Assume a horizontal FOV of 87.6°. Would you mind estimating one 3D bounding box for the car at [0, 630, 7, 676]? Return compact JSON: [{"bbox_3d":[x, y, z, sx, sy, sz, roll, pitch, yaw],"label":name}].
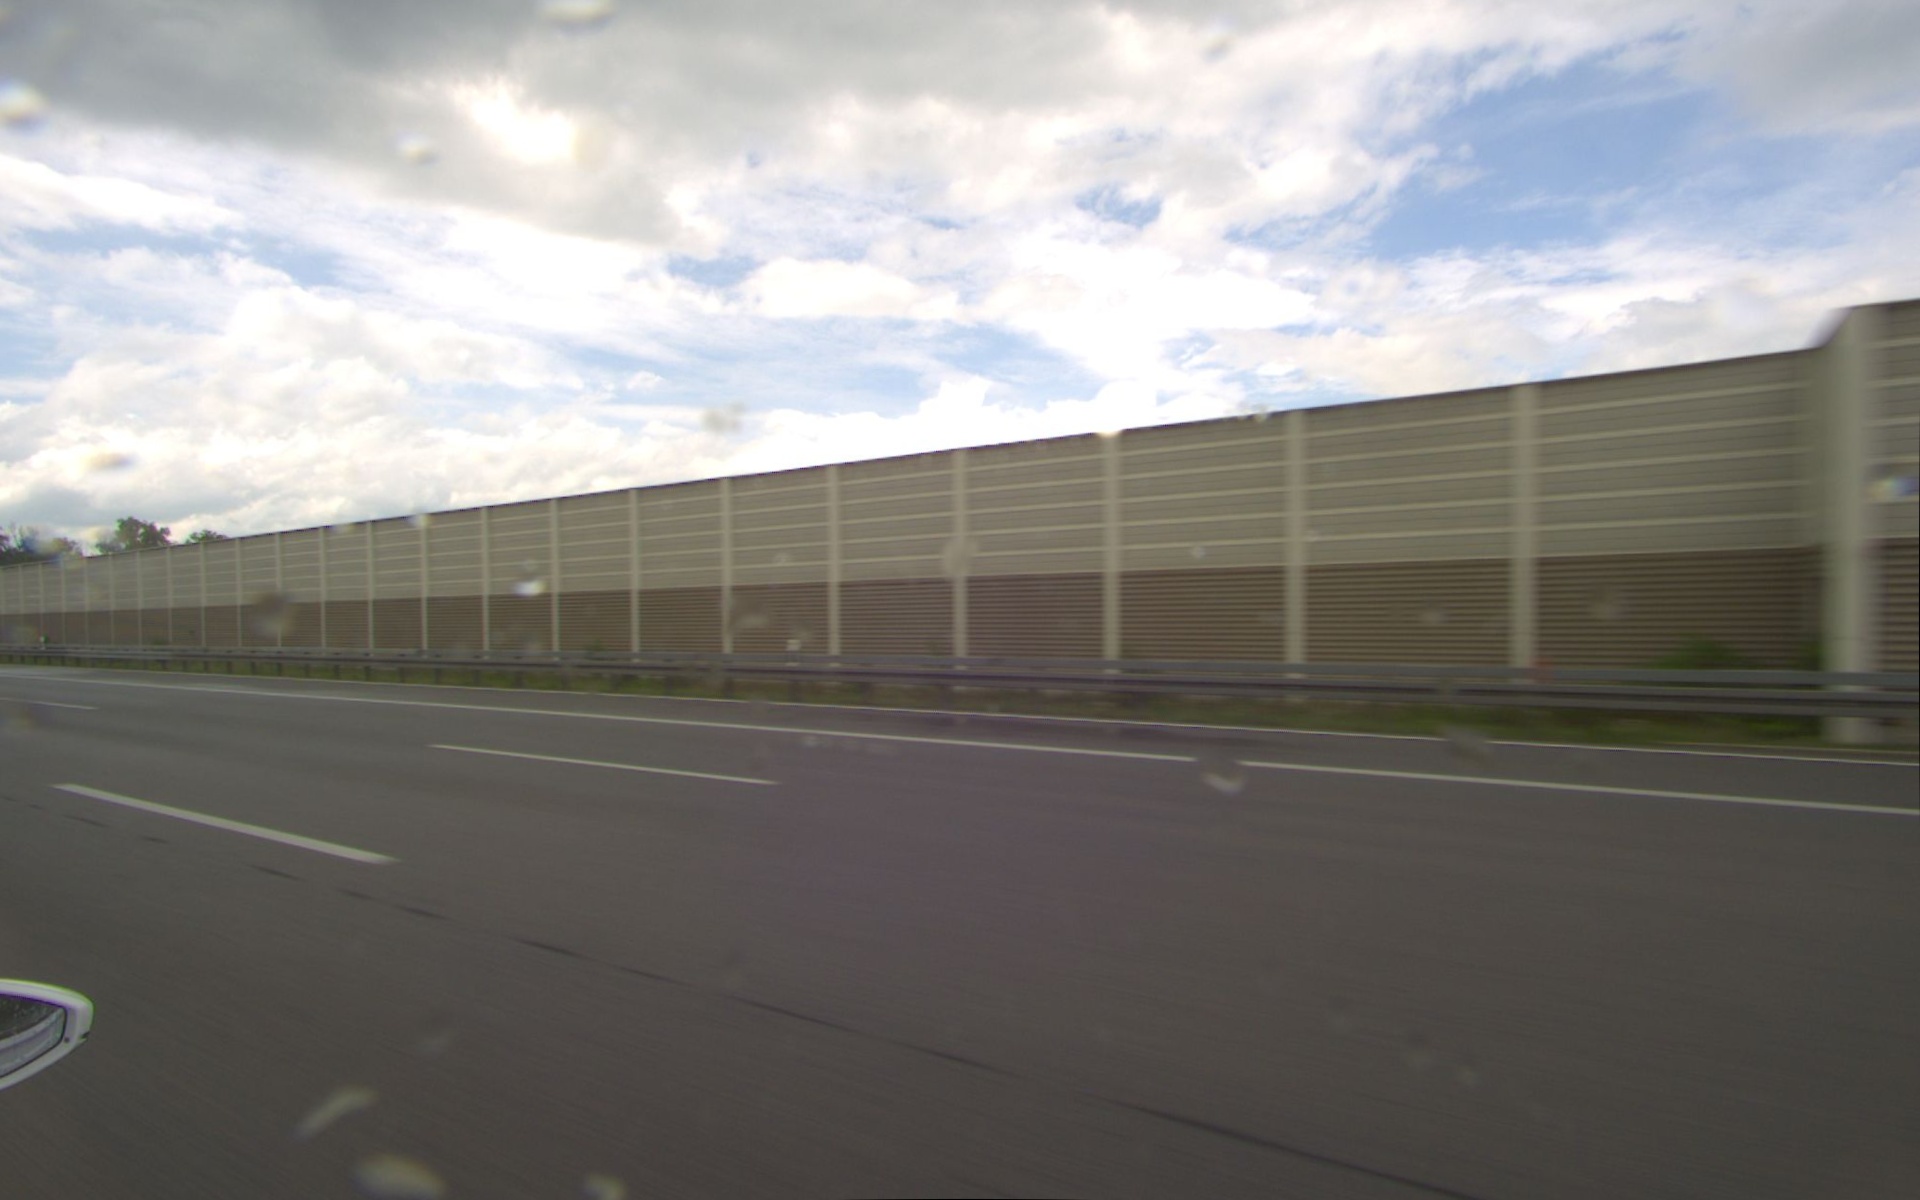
[{"bbox_3d":[-32.135,1.683,31.738,4.173,1.437,1.945,-1,-1,34],"label":"car"}]
